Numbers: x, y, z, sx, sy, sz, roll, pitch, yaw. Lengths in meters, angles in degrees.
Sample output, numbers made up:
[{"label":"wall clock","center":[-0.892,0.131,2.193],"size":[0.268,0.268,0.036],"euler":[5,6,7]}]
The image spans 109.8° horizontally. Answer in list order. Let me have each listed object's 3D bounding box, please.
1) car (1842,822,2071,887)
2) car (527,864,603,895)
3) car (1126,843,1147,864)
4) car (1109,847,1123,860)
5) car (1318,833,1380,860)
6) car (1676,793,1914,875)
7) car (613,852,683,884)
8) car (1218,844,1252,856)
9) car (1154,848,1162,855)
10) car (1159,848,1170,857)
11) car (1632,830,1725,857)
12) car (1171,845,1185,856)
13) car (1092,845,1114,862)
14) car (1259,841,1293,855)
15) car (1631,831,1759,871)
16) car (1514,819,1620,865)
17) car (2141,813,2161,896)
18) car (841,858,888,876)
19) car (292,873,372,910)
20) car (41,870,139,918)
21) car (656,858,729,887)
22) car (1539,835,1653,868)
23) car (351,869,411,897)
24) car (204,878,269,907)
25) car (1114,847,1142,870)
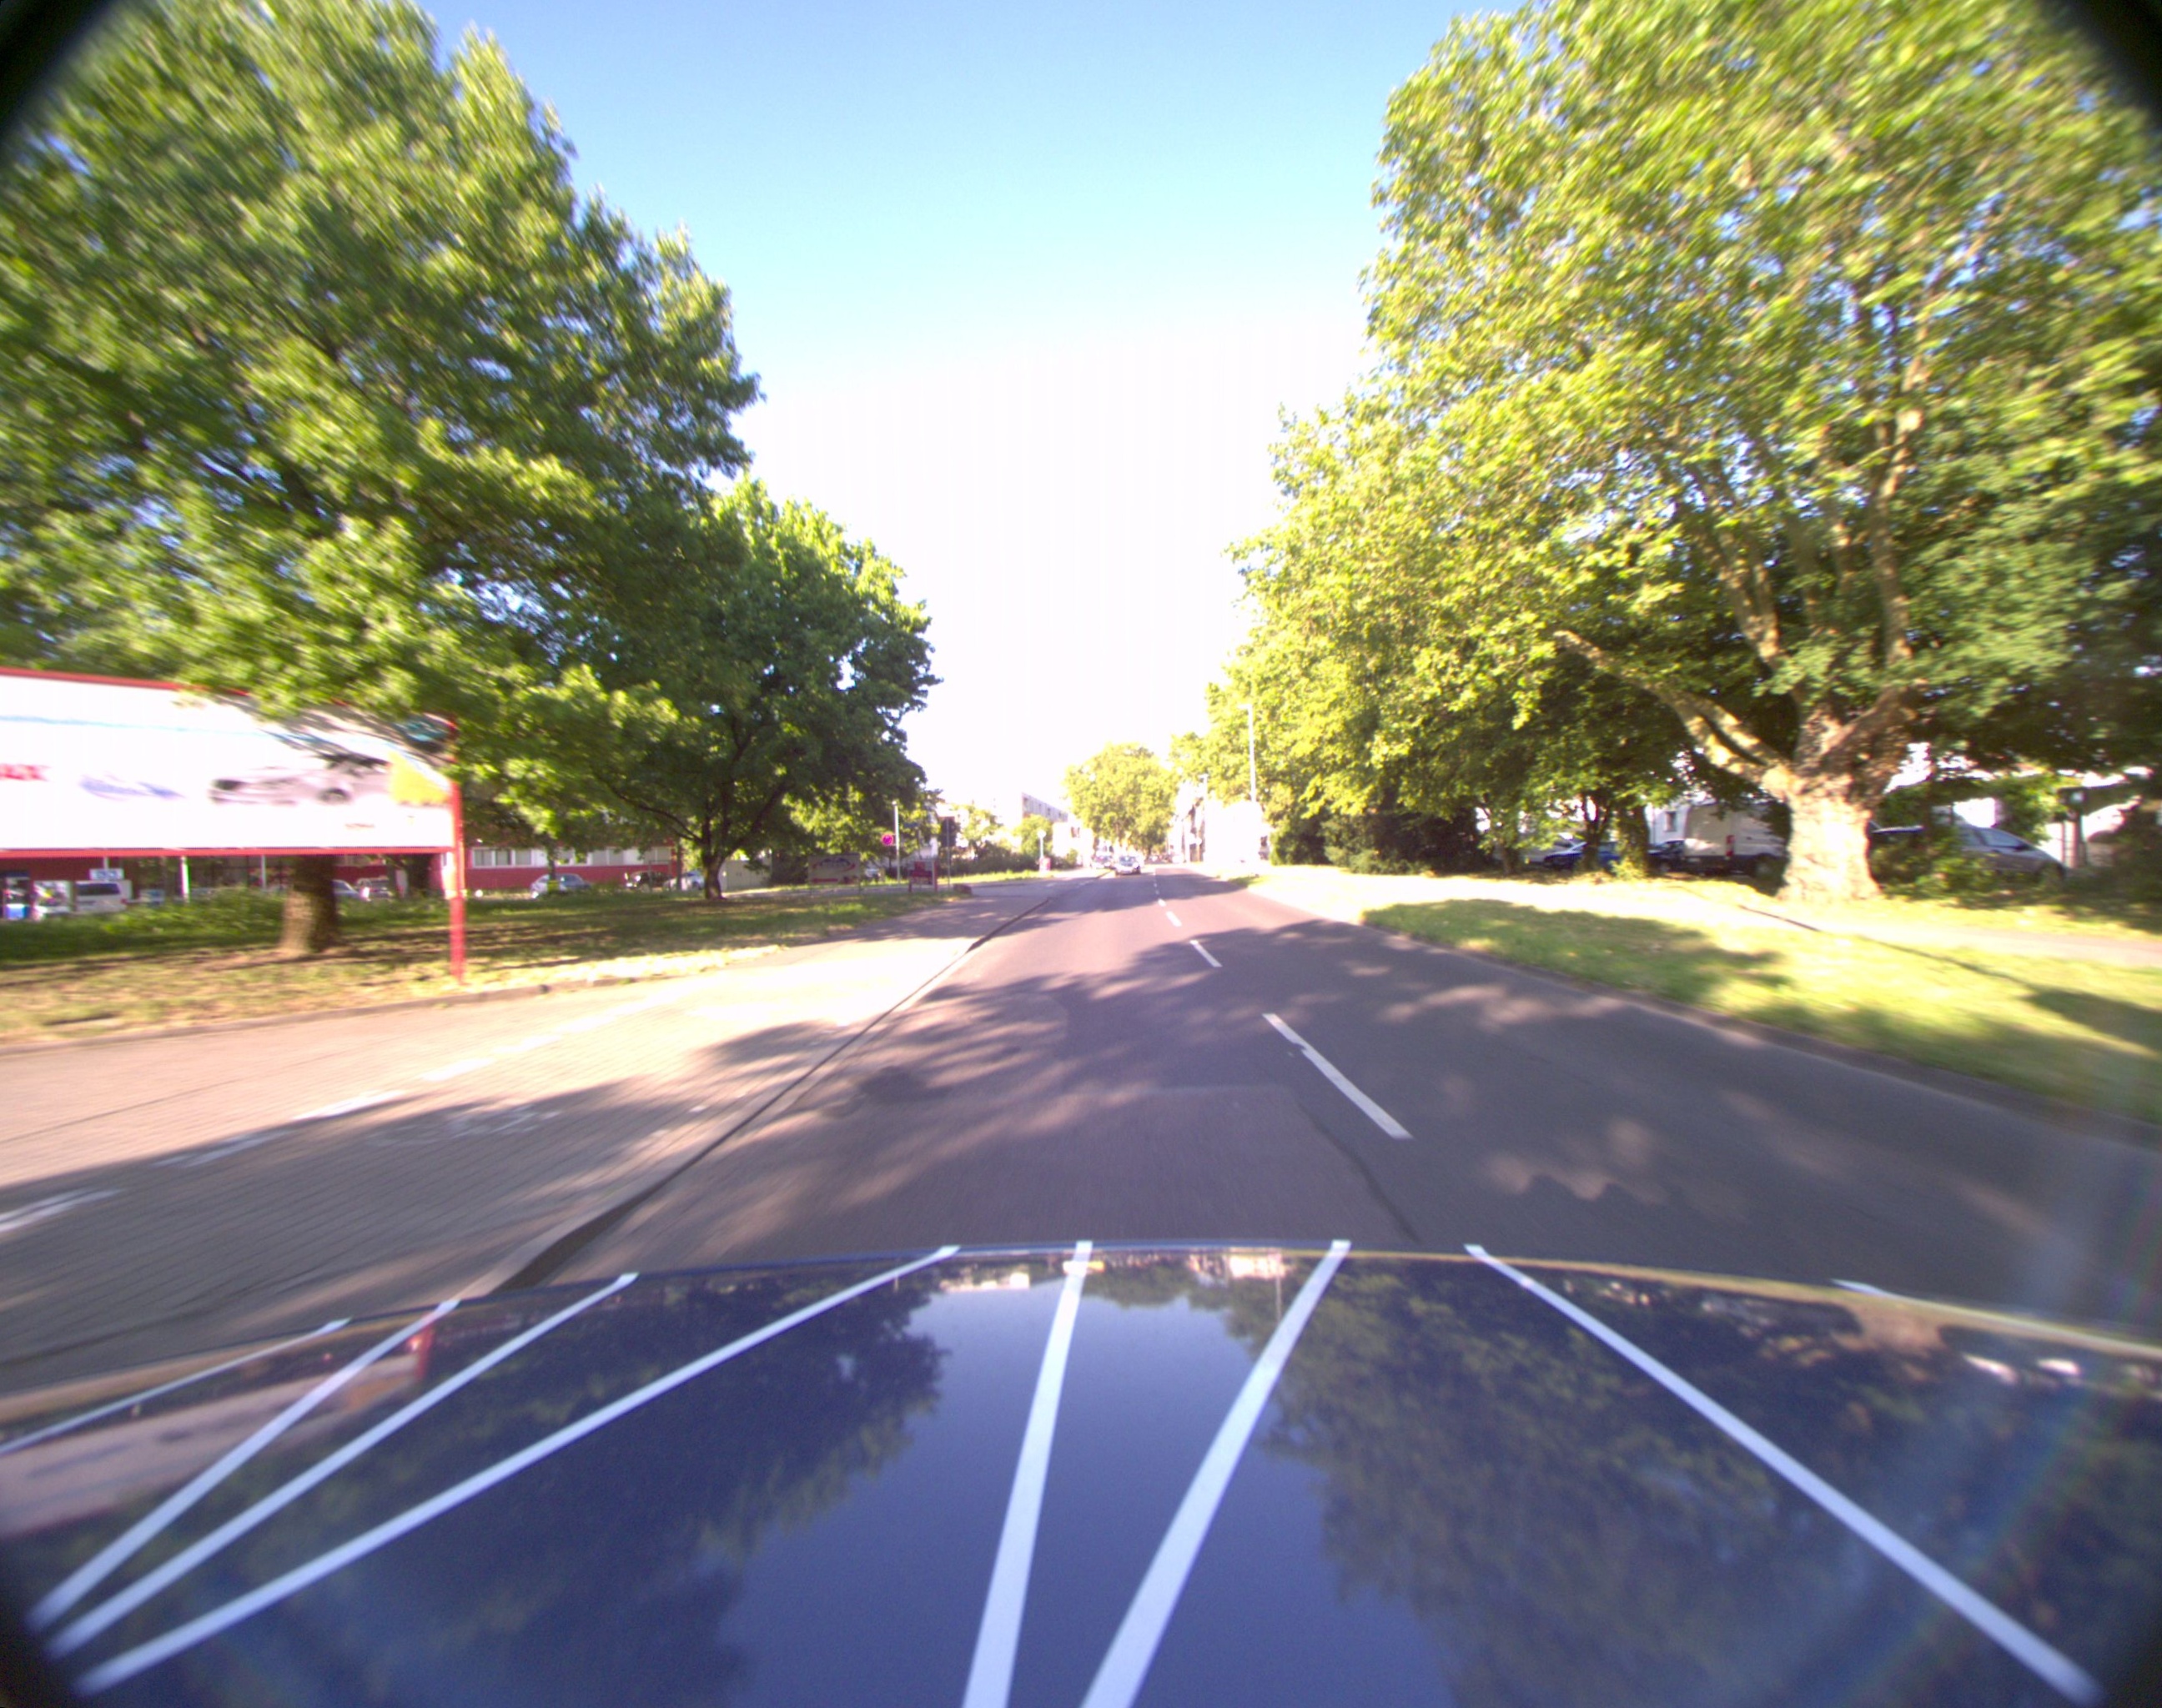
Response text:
[{"label":"car","center":[22.215,0.004,19.393],"size":[3.735,1.491,1.814],"euler":[-1,1,1]},{"label":"car","center":[-28.727,1.438,42.282],"size":[4.656,1.467,1.792],"euler":[-4,0,34]},{"label":"car","center":[5.592,-0.109,77.362],"size":[1.934,2.002,3.999],"euler":[-2,2,2]},{"label":"car","center":[4.818,-0.036,103.783],"size":[1.601,1.680,4.338],"euler":[-1,1,7]},{"label":"car","center":[20.384,-0.547,57.862],"size":[3.996,1.674,1.727],"euler":[-5,0,2]},{"label":"car","center":[22.667,-0.613,24.331],"size":[5.443,2.487,2.186],"euler":[0,1,2]},{"label":"car","center":[-25.591,0.815,44.875],"size":[4.433,1.807,1.710],"euler":[-1,1,33]},{"label":"car","center":[19.561,-0.535,96.503],"size":[3.992,1.410,1.916],"euler":[-1,2,17]},{"label":"car","center":[18.679,-0.584,183.983],"size":[1.900,1.581,4.071],"euler":[-1,1,8]},{"label":"car","center":[16.296,-0.278,147.838],"size":[1.869,1.603,4.087],"euler":[-2,0,4]},{"label":"car","center":[36.057,-0.631,45.926],"size":[3.996,1.543,1.925],"euler":[-1,1,4]},{"label":"car","center":[13.673,-0.468,107.032],"size":[1.764,1.475,4.110],"euler":[-3,0,7]},{"label":"car","center":[2.100,-0.052,72.031],"size":[1.786,1.507,4.690],"euler":[0,1,5]},{"label":"car","center":[24.392,-0.785,94.886],"size":[3.992,1.552,1.866],"euler":[-2,1,17]},{"label":"car","center":[23.244,-0.113,28.855],"size":[3.489,1.374,1.692],"euler":[-1,1,0]},{"label":"car","center":[23.877,-0.567,37.413],"size":[3.998,2.032,1.908],"euler":[-2,-1,-3]},{"label":"car","center":[22.679,-0.030,13.880],"size":[4.135,1.587,1.952],"euler":[-1,1,-3]},{"label":"car","center":[-20.566,1.190,72.210],"size":[3.989,1.565,1.912],"euler":[0,2,28]},{"label":"car","center":[-33.763,1.703,34.215],"size":[4.186,1.467,1.792],"euler":[-4,0,35]},{"label":"car","center":[-47.076,1.892,36.079],"size":[4.637,1.963,1.895],"euler":[-4,1,26]},{"label":"car","center":[-23.945,1.156,46.757],"size":[4.434,1.584,2.003],"euler":[-2,1,33]},{"label":"car","center":[23.053,-0.098,34.106],"size":[3.939,1.374,1.692],"euler":[-1,1,0]},{"label":"car","center":[-41.848,1.754,45.410],"size":[3.544,1.418,1.688],"euler":[-4,1,33]},{"label":"car","center":[-44.777,2.040,40.287],"size":[3.544,1.343,1.688],"euler":[-4,0,33]},{"label":"car","center":[3.321,0.283,53.550],"size":[1.869,1.471,4.087],"euler":[-1,1,4]}]
